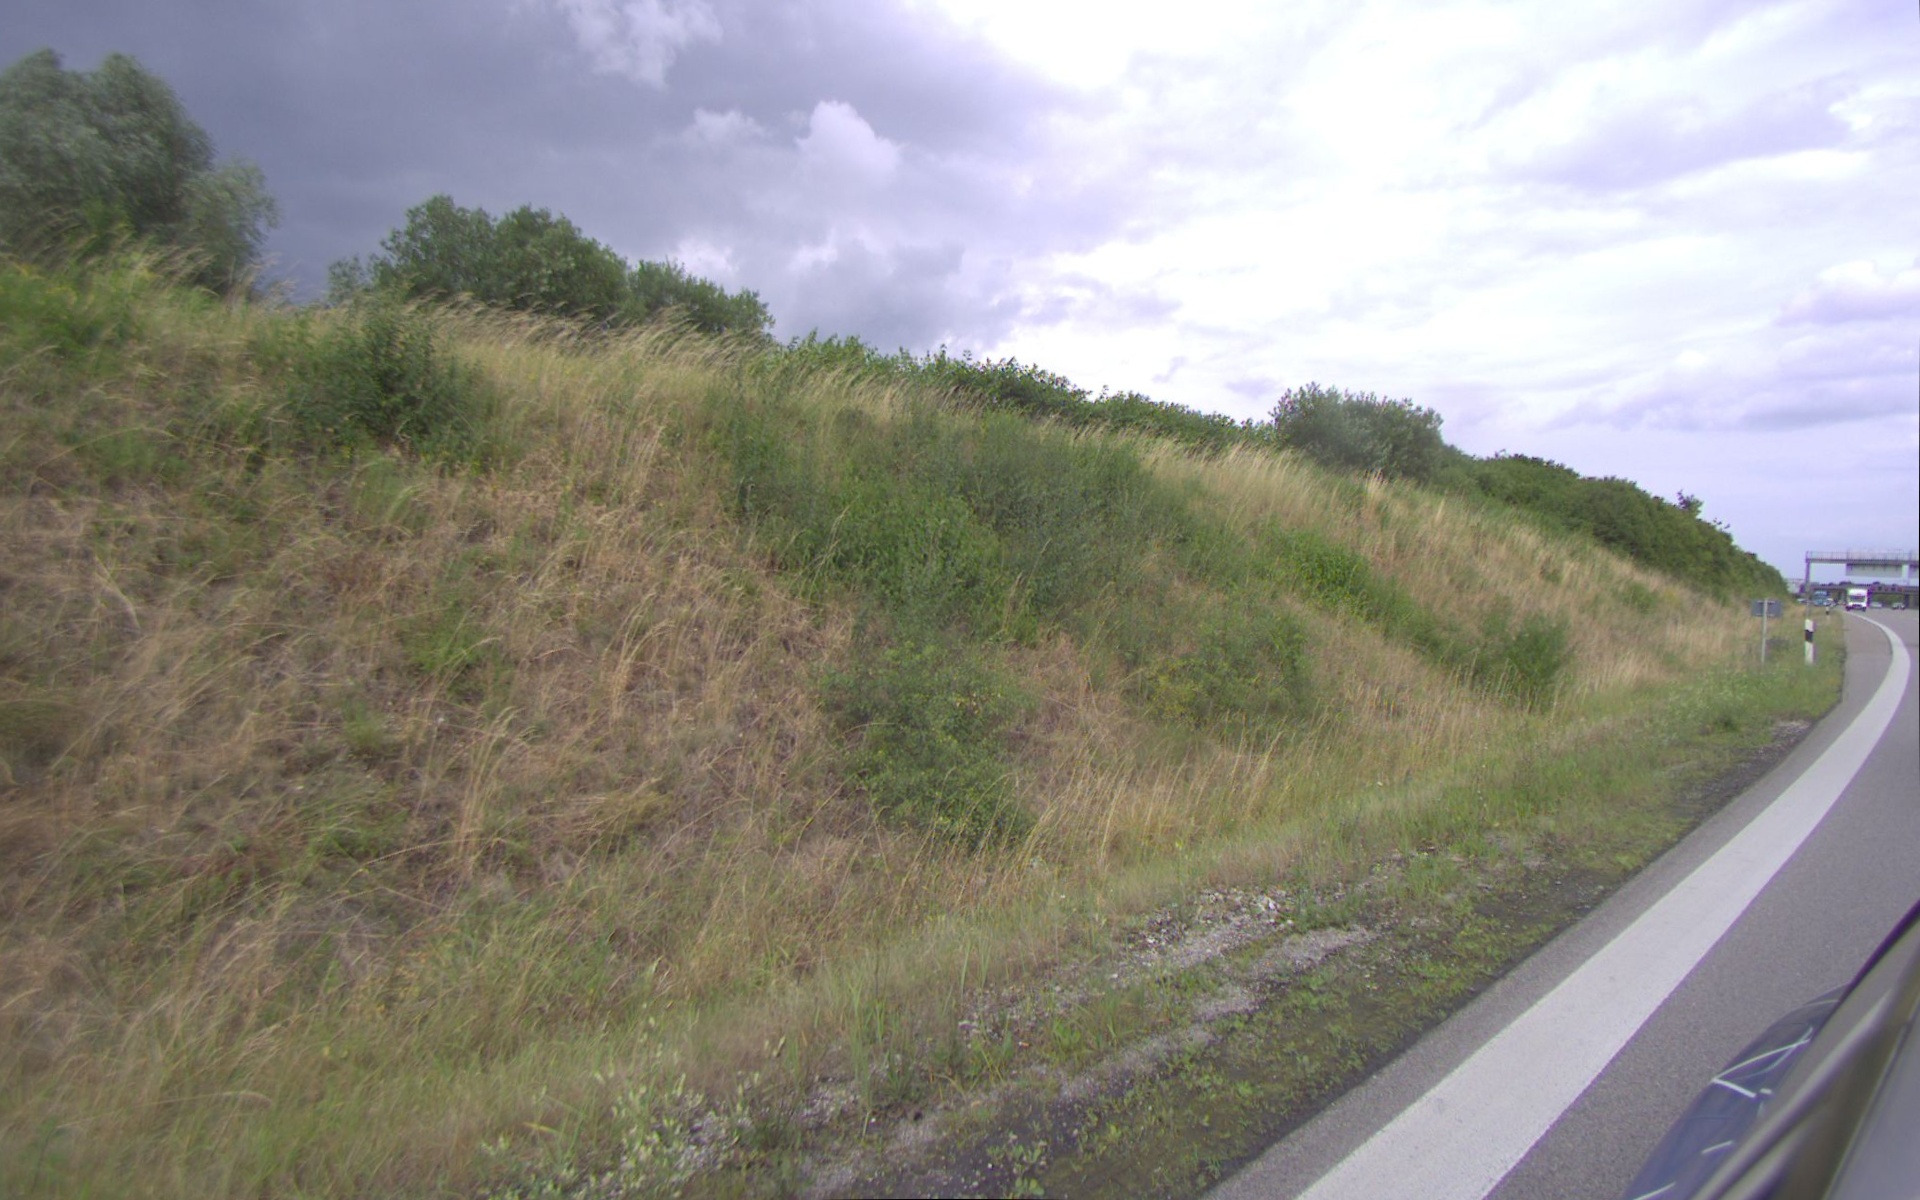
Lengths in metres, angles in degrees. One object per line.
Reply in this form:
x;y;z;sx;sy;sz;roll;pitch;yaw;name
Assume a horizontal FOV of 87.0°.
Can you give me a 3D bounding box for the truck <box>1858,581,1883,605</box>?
130.191;-1.023;144.741;2.441;3.275;7.082;2;2;42;truck
